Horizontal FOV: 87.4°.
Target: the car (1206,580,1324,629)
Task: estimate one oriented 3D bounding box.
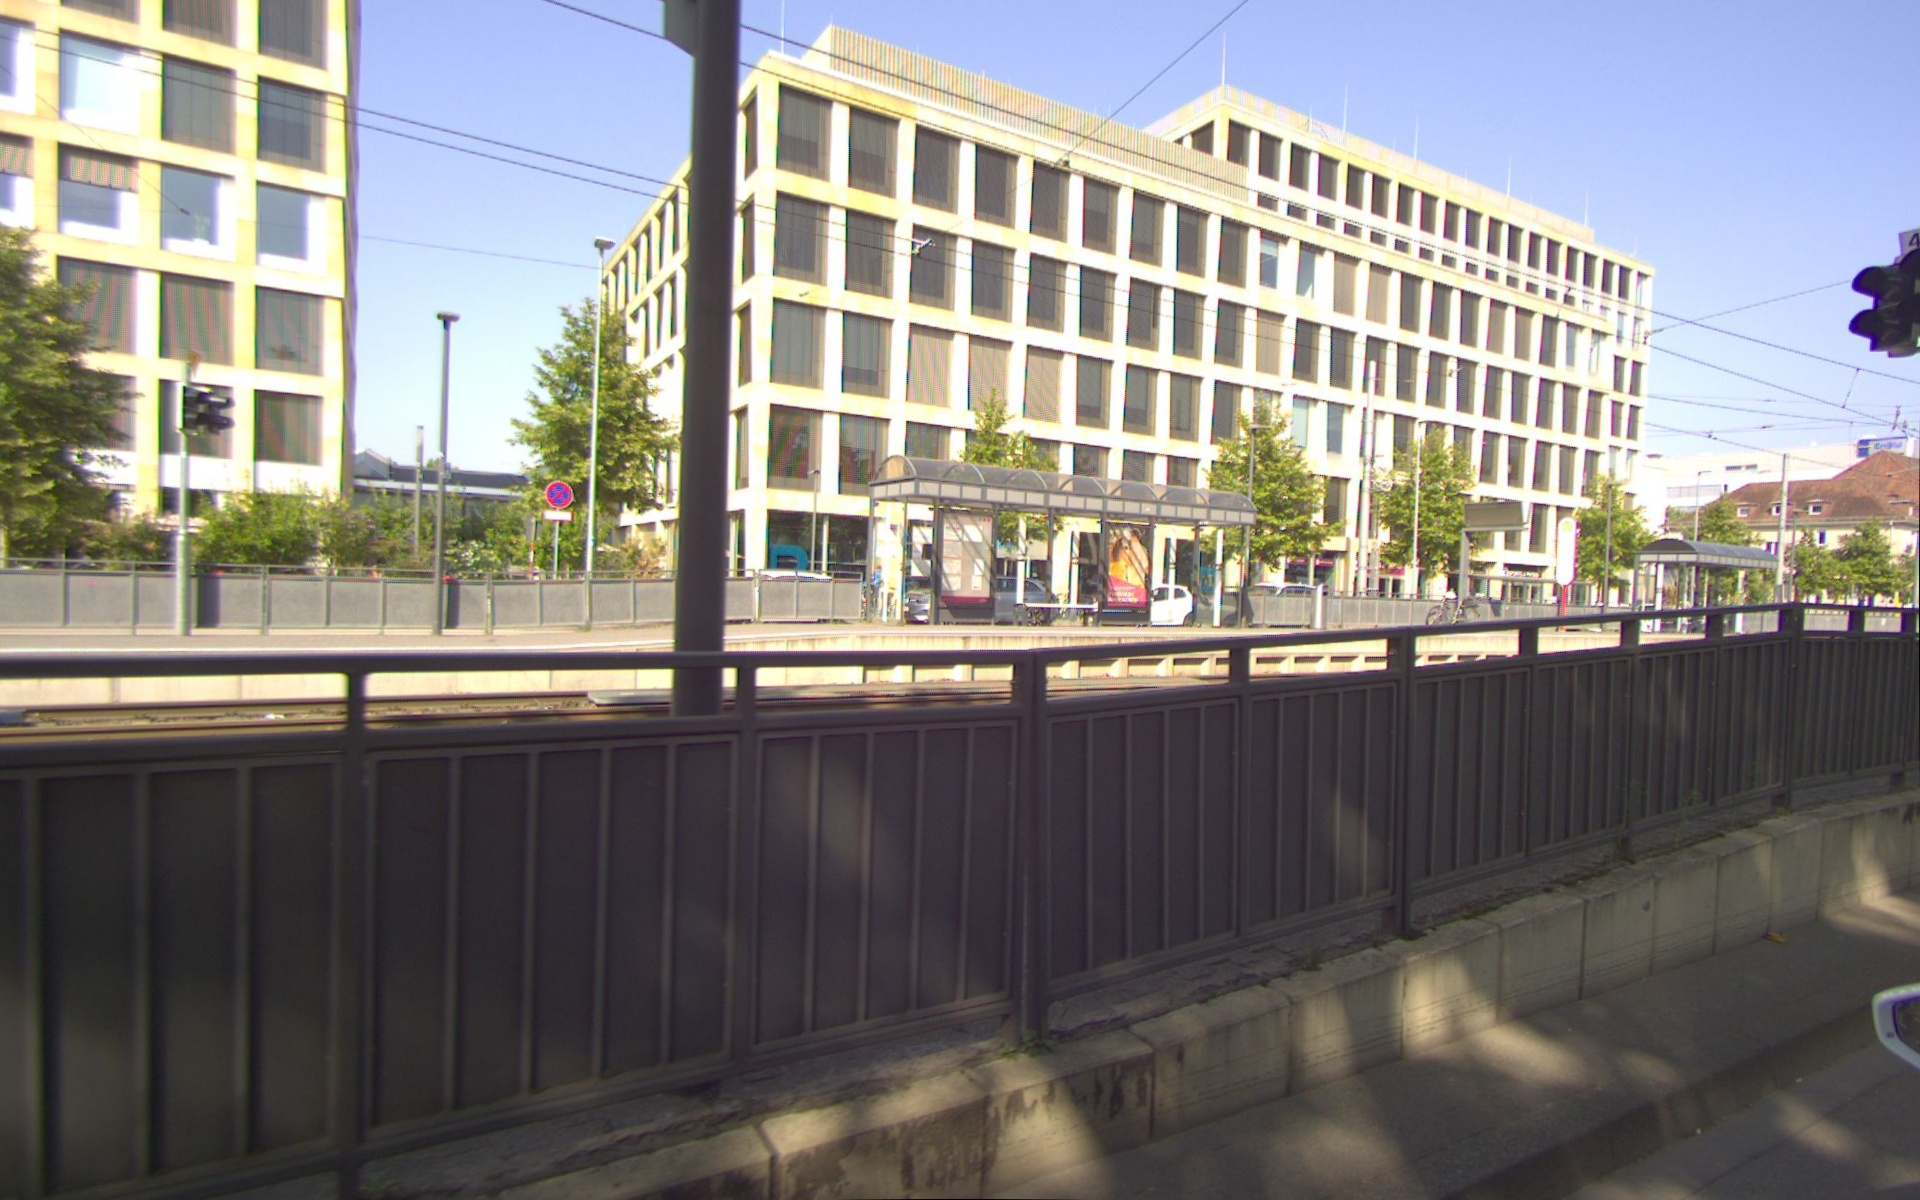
[{"bbox_3d":[10.862,0.169,35.657,4.086,1.624,1.754,2,0,-32],"label":"car"}]

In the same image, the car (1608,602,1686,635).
[{"bbox_3d":[33.537,0.906,49.009,3.964,1.465,1.701,2,0,-32],"label":"car"}]

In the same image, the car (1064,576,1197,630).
[{"bbox_3d":[5.500,0.108,32.346,4.086,1.595,1.754,2,0,-32],"label":"car"}]

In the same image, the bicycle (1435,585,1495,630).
[{"bbox_3d":[13.713,0.206,27.282,1.459,1.163,0.471,2,1,-16],"label":"bicycle"}]

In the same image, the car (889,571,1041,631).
[{"bbox_3d":[0.160,0.056,29.054,4.086,1.595,1.754,2,0,-32],"label":"car"}]

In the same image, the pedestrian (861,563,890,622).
[{"bbox_3d":[-2.986,-0.249,35.536,0.813,2.040,0.560,2,-2,-31],"label":"pedestrian"}]

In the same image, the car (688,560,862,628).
[{"bbox_3d":[-4.767,-0.121,26.062,4.086,1.595,1.754,2,0,-32],"label":"car"}]
